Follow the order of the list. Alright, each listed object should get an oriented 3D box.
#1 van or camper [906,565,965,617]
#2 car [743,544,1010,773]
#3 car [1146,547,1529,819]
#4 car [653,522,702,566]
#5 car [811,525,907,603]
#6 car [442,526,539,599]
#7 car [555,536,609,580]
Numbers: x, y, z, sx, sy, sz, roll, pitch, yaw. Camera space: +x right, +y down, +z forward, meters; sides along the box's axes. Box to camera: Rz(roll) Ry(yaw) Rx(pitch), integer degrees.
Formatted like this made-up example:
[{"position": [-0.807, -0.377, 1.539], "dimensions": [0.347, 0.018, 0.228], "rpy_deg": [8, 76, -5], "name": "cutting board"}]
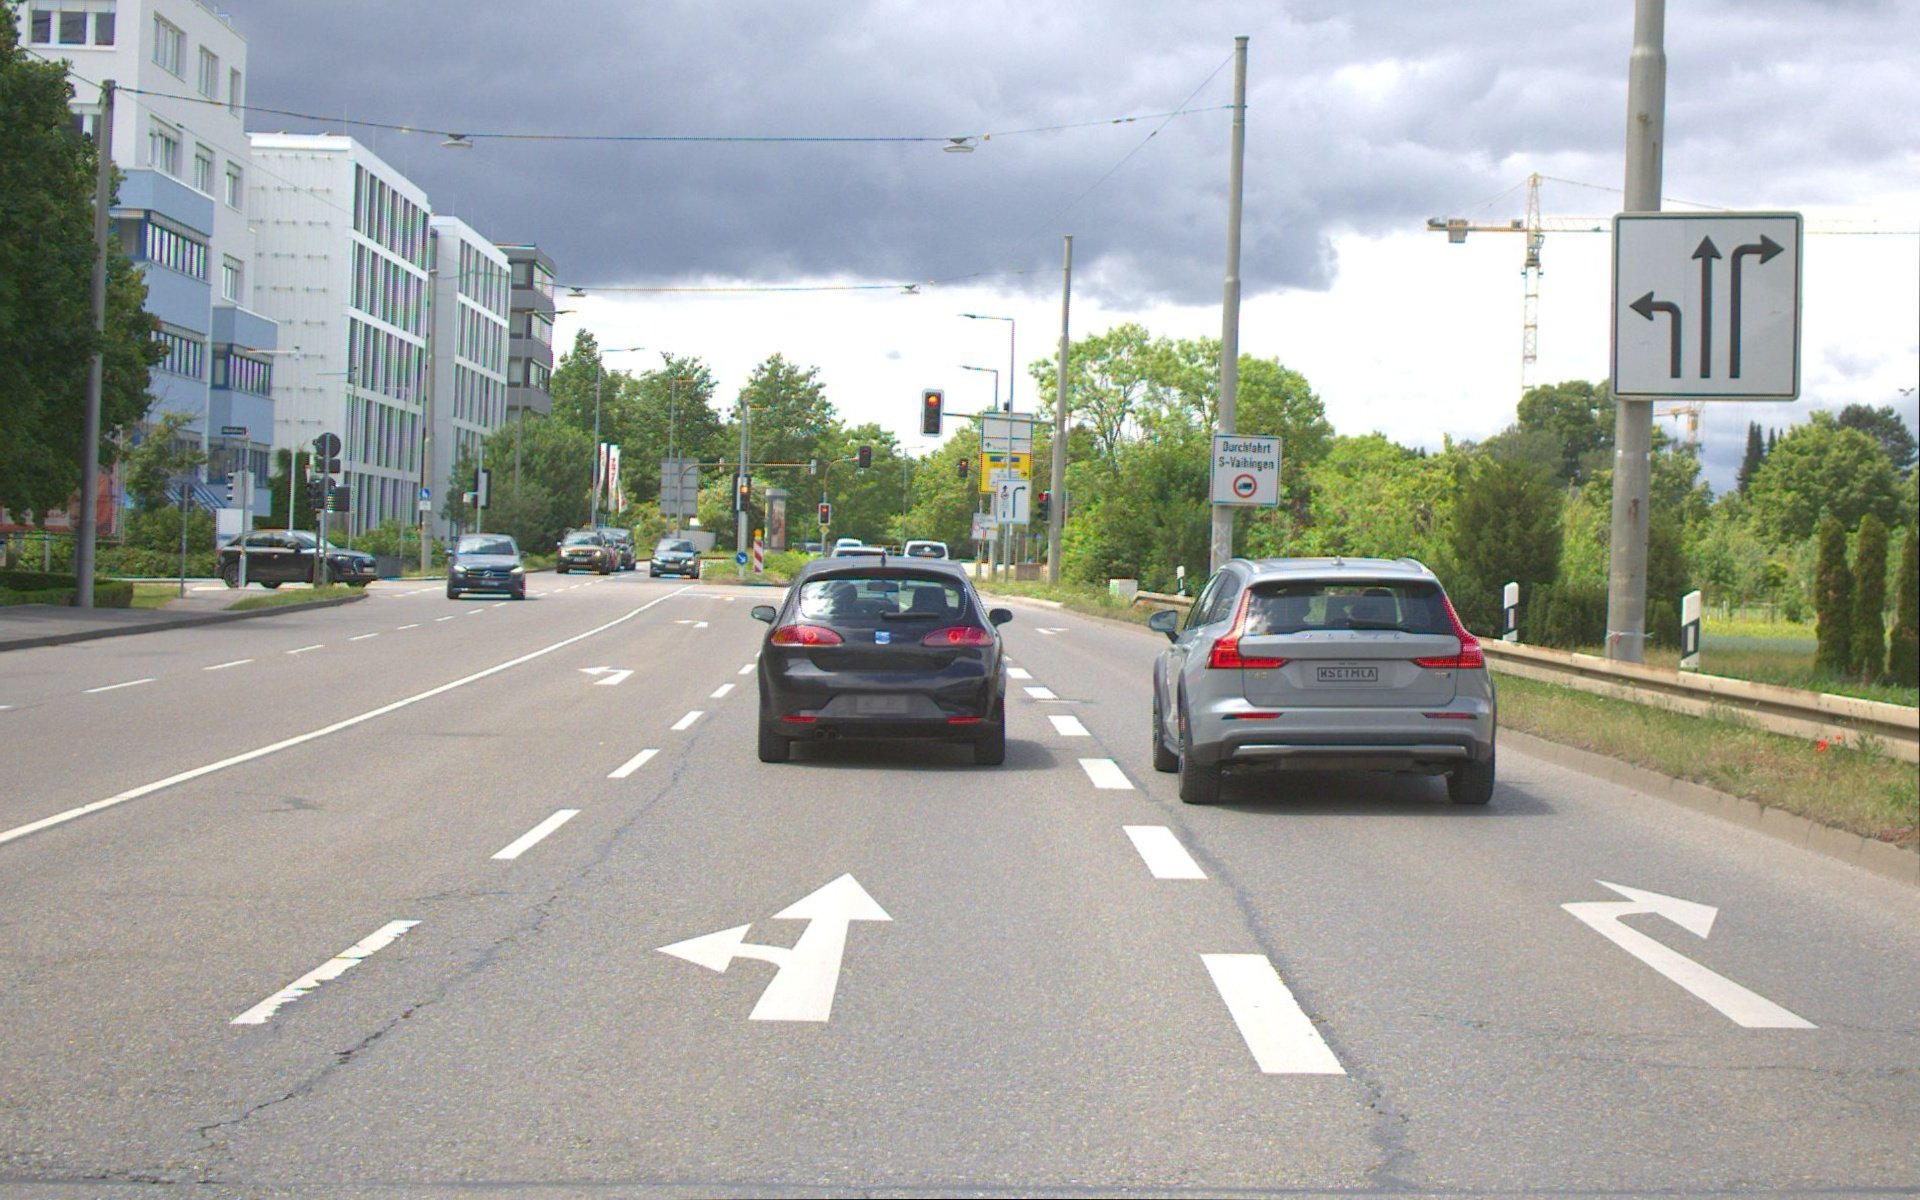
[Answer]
[{"position": [-1.007, -0.362, 138.596], "dimensions": [1.899, 1.919, 4.001], "rpy_deg": [4, 0, -5], "name": "van or camper"}, {"position": [-0.541, 0.376, 24.978], "dimensions": [1.748, 1.479, 4.000], "rpy_deg": [2, 0, 1], "name": "car"}, {"position": [2.253, 0.453, 21.631], "dimensions": [1.958, 1.520, 4.340], "rpy_deg": [1, 0, 1], "name": "car"}, {"position": [-10.354, -2.065, 126.385], "dimensions": [1.668, 1.519, 4.009], "rpy_deg": [0, 2, -3], "name": "car"}, {"position": [-2.332, -0.831, 78.091], "dimensions": [1.983, 1.584, 4.227], "rpy_deg": [2, 2, -3], "name": "car"}, {"position": [-11.211, -0.893, 82.356], "dimensions": [1.796, 1.579, 4.314], "rpy_deg": [5, 0, -3], "name": "car"}, {"position": [-14.041, -1.563, 127.825], "dimensions": [1.751, 1.625, 4.001], "rpy_deg": [0, 1, -3], "name": "car"}]
